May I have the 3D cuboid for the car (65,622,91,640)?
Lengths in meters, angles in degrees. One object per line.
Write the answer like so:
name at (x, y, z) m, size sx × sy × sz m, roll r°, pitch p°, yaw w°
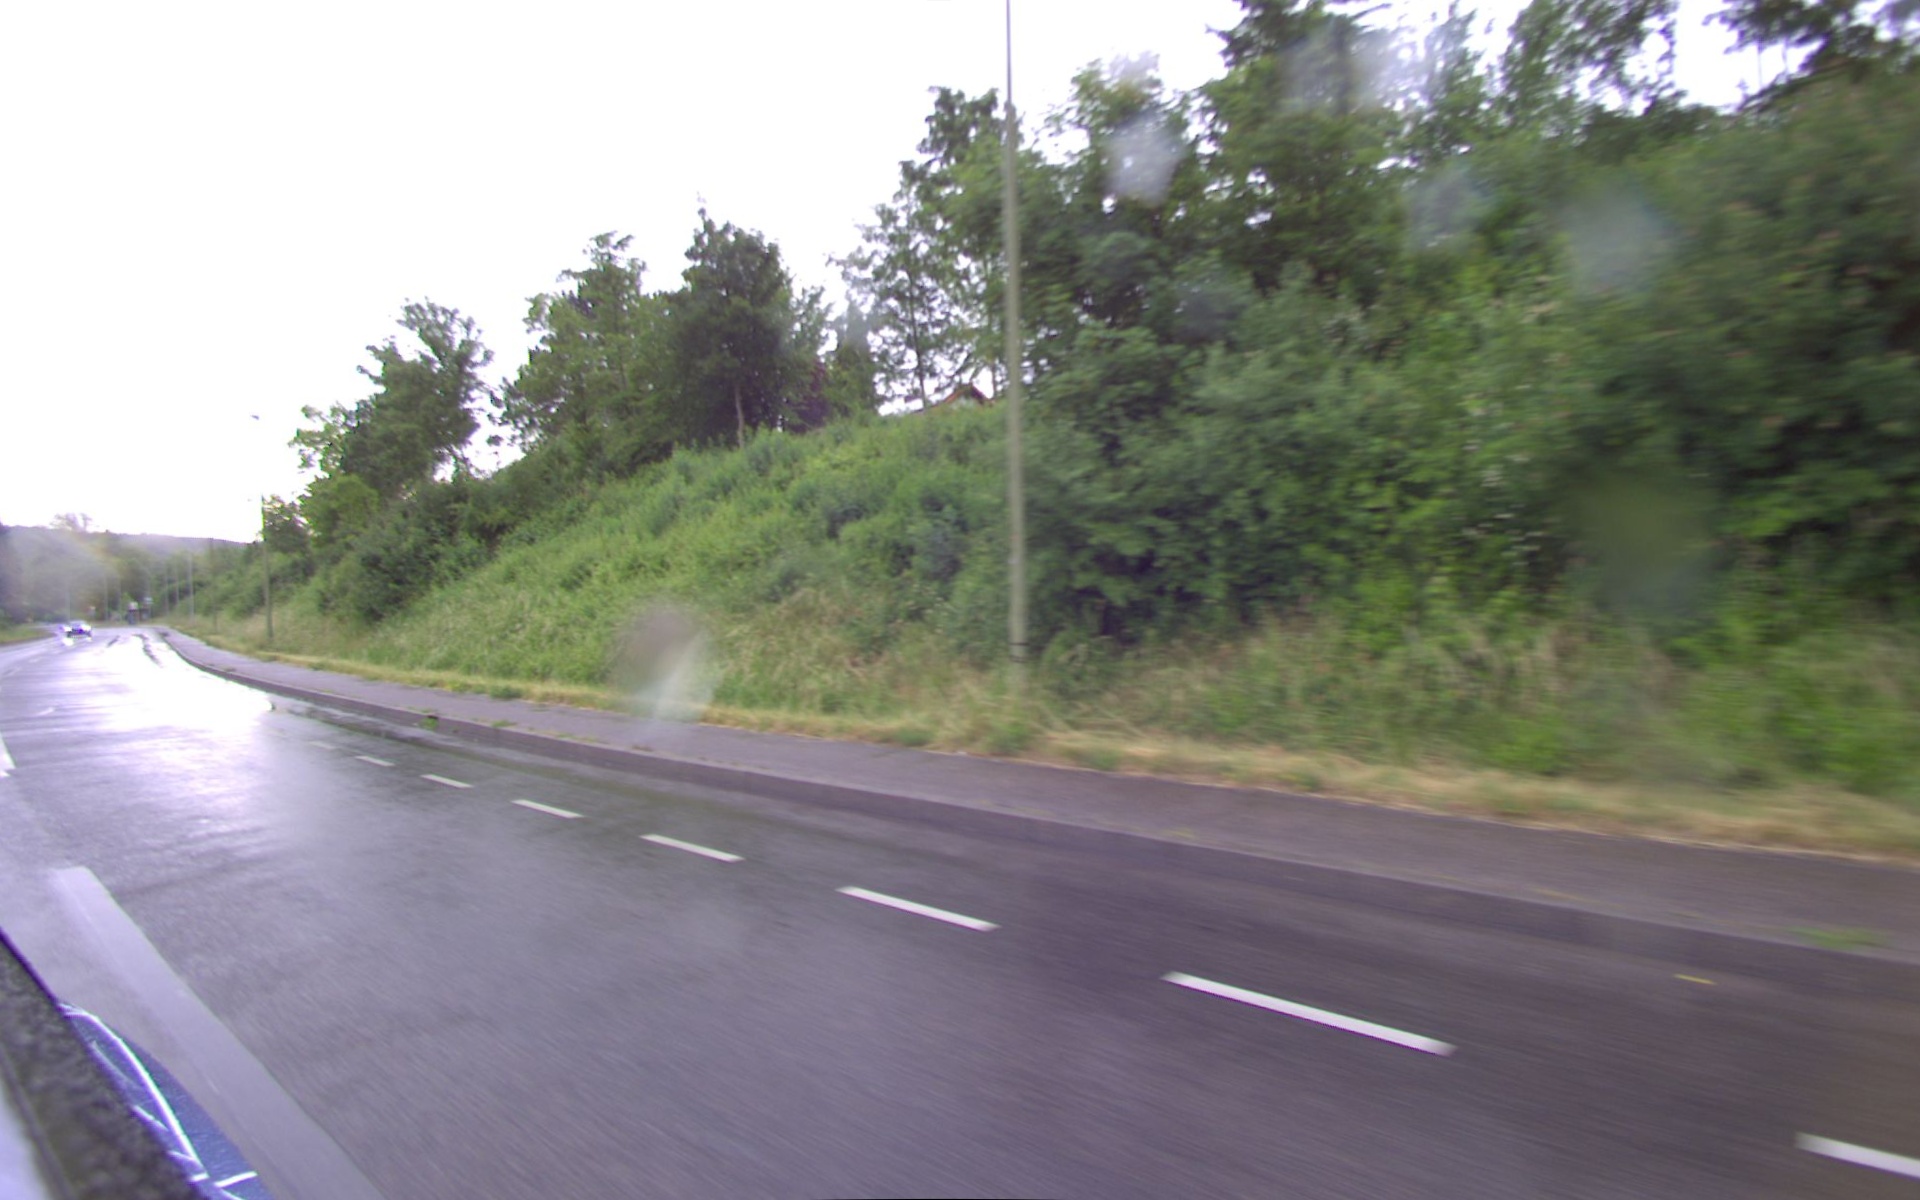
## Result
car at (-84.867, 2.972, 97.412) m, size 1.852 × 1.618 × 4.005 m, roll 1°, pitch -1°, yaw -41°
